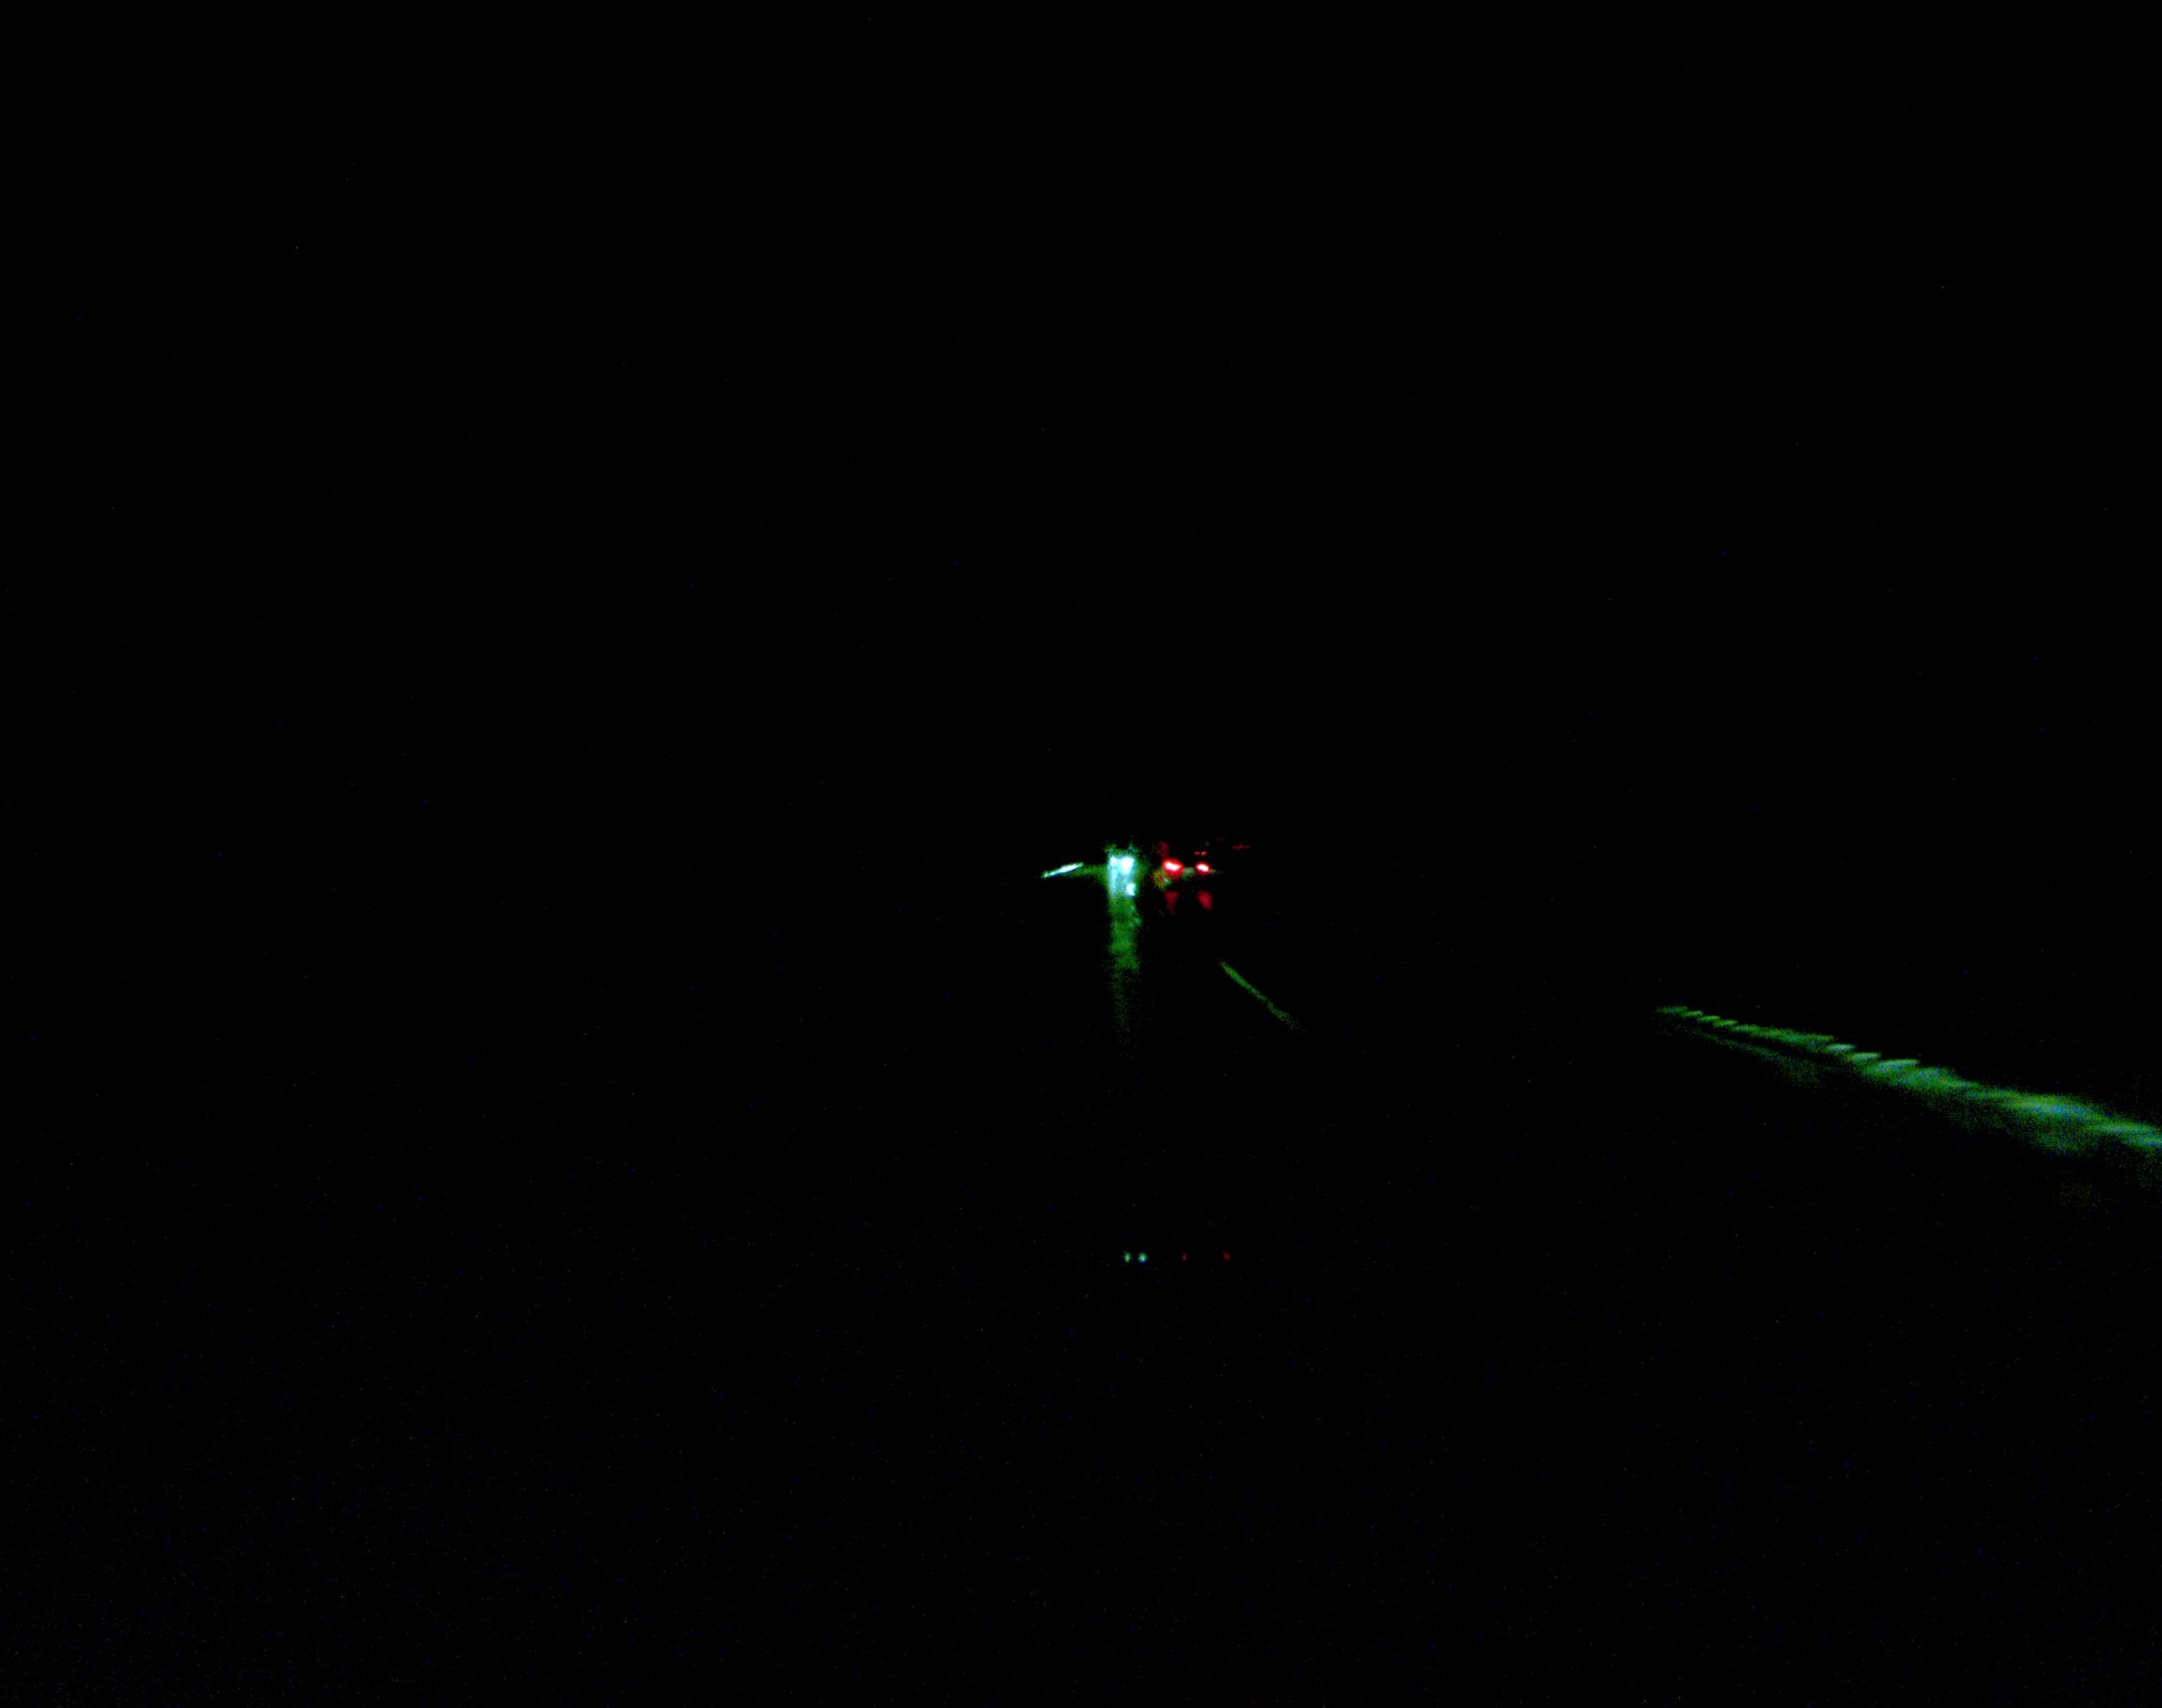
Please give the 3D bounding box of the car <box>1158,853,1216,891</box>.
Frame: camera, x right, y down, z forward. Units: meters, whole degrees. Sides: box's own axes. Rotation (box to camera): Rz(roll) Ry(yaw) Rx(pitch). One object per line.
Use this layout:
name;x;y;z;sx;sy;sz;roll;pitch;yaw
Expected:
car;4.497;0.742;32.776;1.998;1.463;3.836;-2;0;1

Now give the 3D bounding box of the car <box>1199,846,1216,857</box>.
car;22.110;-0.433;132.689;1.995;1.915;4.006;-1;1;23

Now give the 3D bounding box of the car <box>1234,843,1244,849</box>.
car;46.084;-2.416;221.657;1.995;1.740;4.264;-1;1;22

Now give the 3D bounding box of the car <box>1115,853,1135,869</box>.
car;4.539;0.721;78.044;1.806;1.452;4.277;-2;0;7
